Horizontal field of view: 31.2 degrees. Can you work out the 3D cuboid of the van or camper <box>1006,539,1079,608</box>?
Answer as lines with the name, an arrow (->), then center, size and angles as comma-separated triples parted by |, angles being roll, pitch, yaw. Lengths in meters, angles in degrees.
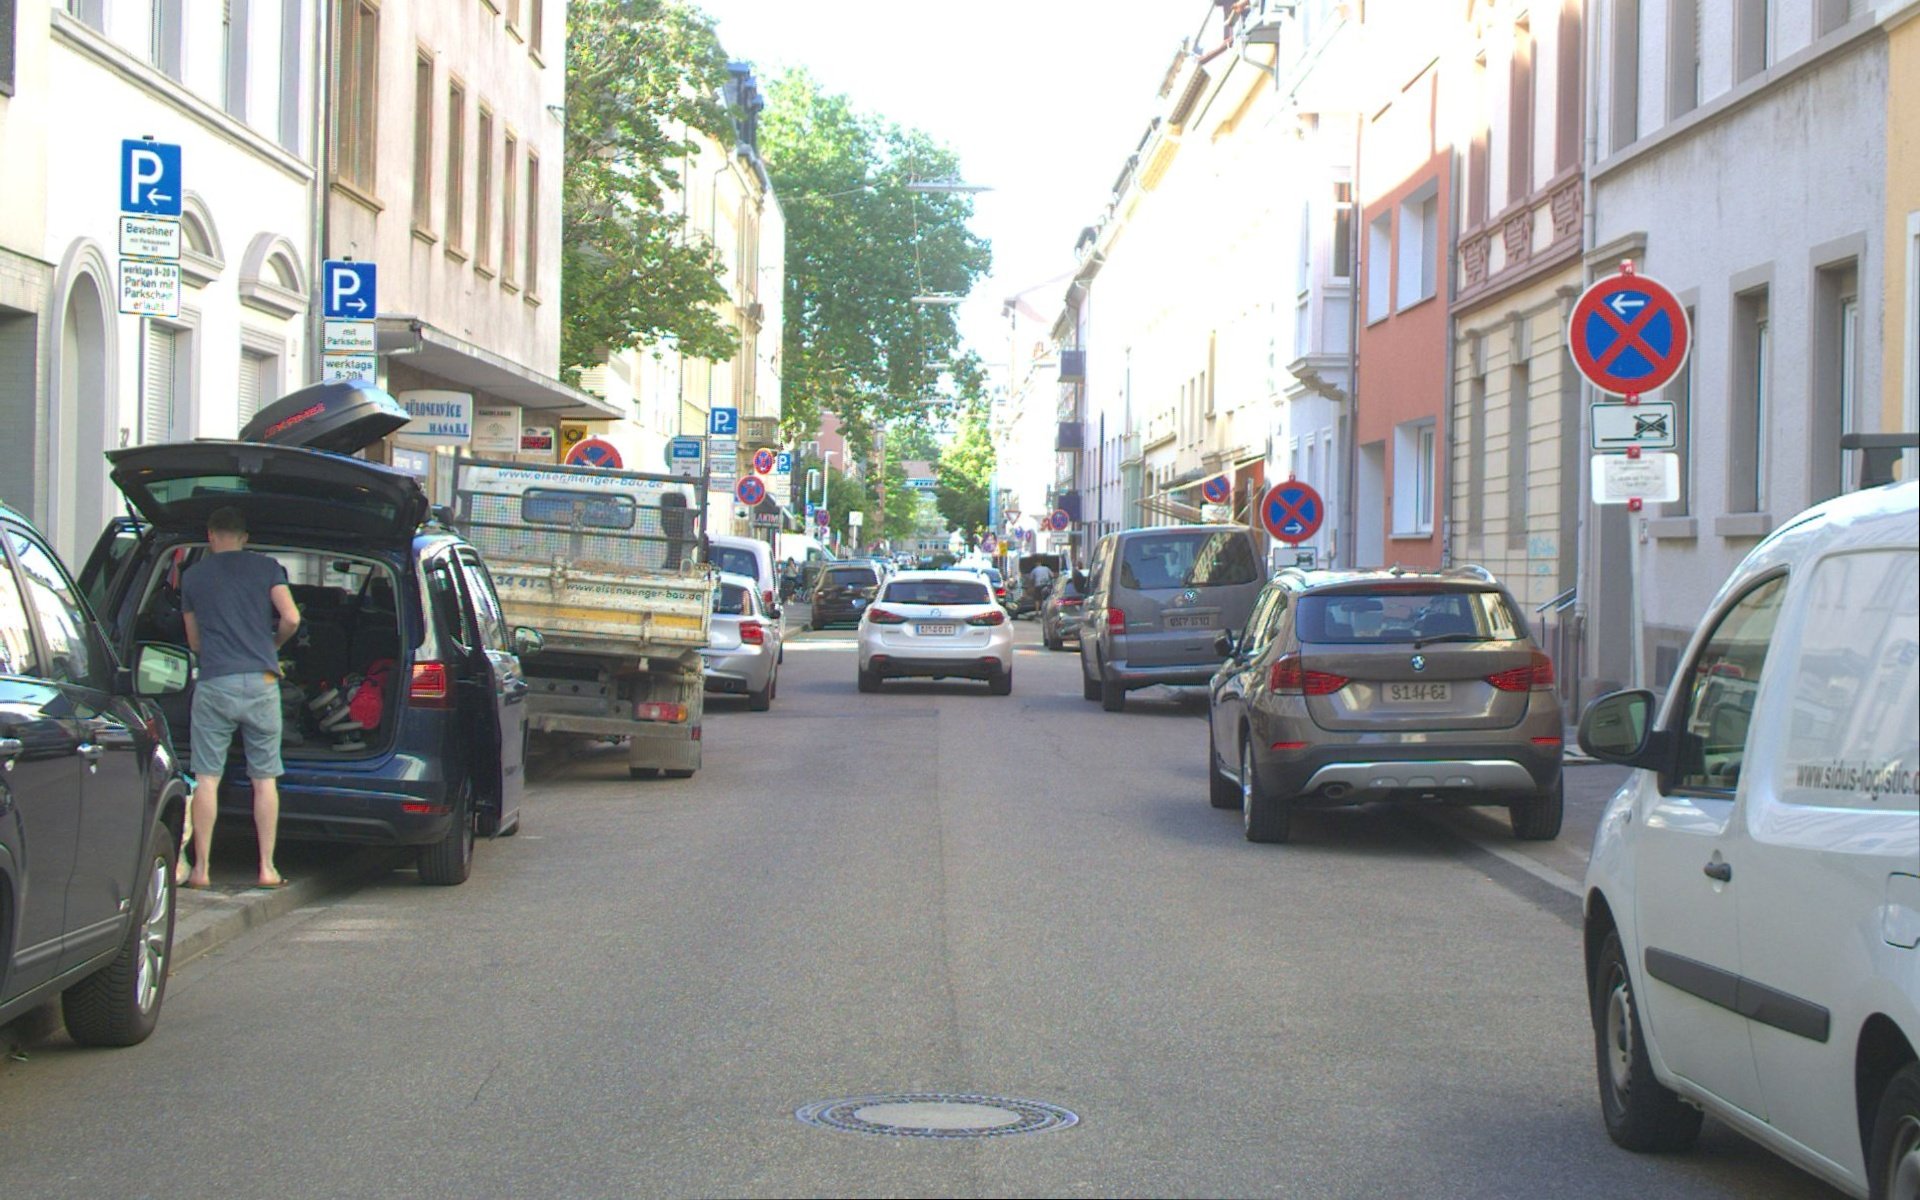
van or camper -> 2.402, -0.763, 100.909 | 1.993, 1.919, 4.000 | 1, -1, 0

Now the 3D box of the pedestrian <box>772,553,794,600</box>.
pedestrian -> -5.583, -0.749, 108.547 | 0.627, 1.459, 0.575 | 1, -1, 0

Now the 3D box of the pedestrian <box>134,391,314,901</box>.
pedestrian -> -3.283, 0.203, 15.375 | 0.619, 2.221, 0.688 | 1, -1, 0

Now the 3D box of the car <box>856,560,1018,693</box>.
car -> -0.238, 0.283, 41.588 | 1.834, 1.481, 4.057 | 1, 1, 1

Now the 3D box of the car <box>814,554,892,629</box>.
car -> -2.417, -0.210, 78.236 | 1.625, 1.591, 3.580 | 2, 1, 0

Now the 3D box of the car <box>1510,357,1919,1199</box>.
car -> 2.591, 0.539, 7.993 | 1.782, 1.955, 4.336 | 1, 0, -1

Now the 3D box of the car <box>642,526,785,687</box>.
car -> -3.013, 0.052, 42.594 | 1.647, 1.861, 4.001 | 1, 1, -3

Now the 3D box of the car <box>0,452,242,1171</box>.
car -> -3.276, 0.425, 9.303 | 1.879, 1.749, 4.544 | 4, 1, -4

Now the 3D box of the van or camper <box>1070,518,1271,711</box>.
van or camper -> 2.294, 0.133, 38.514 | 1.775, 2.029, 4.571 | 0, 0, -2

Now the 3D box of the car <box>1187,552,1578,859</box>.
car -> 2.421, 0.540, 20.711 | 1.739, 1.571, 4.378 | 1, 1, -1

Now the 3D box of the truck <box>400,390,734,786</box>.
truck -> -2.855, -0.057, 25.804 | 2.156, 2.581, 6.250 | 1, 0, -5

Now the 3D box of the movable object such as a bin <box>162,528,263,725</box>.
movable object such as a bin -> -5.899, 0.207, 27.154 | 0.639, 1.527, 0.587 | 1, 0, 0

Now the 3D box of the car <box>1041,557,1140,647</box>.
car -> 2.370, 0.010, 63.076 | 1.647, 1.571, 3.679 | 1, 1, 0

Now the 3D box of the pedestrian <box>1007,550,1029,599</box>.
pedestrian -> 1.721, -0.758, 102.098 | 0.627, 1.459, 0.575 | 1, -1, 0

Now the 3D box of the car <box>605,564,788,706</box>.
car -> -2.781, 0.337, 36.953 | 1.758, 1.411, 4.000 | -1, 1, -2

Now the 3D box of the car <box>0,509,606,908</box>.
car -> -3.341, 0.440, 17.832 | 2.441, 1.700, 5.242 | 2, 1, 0
